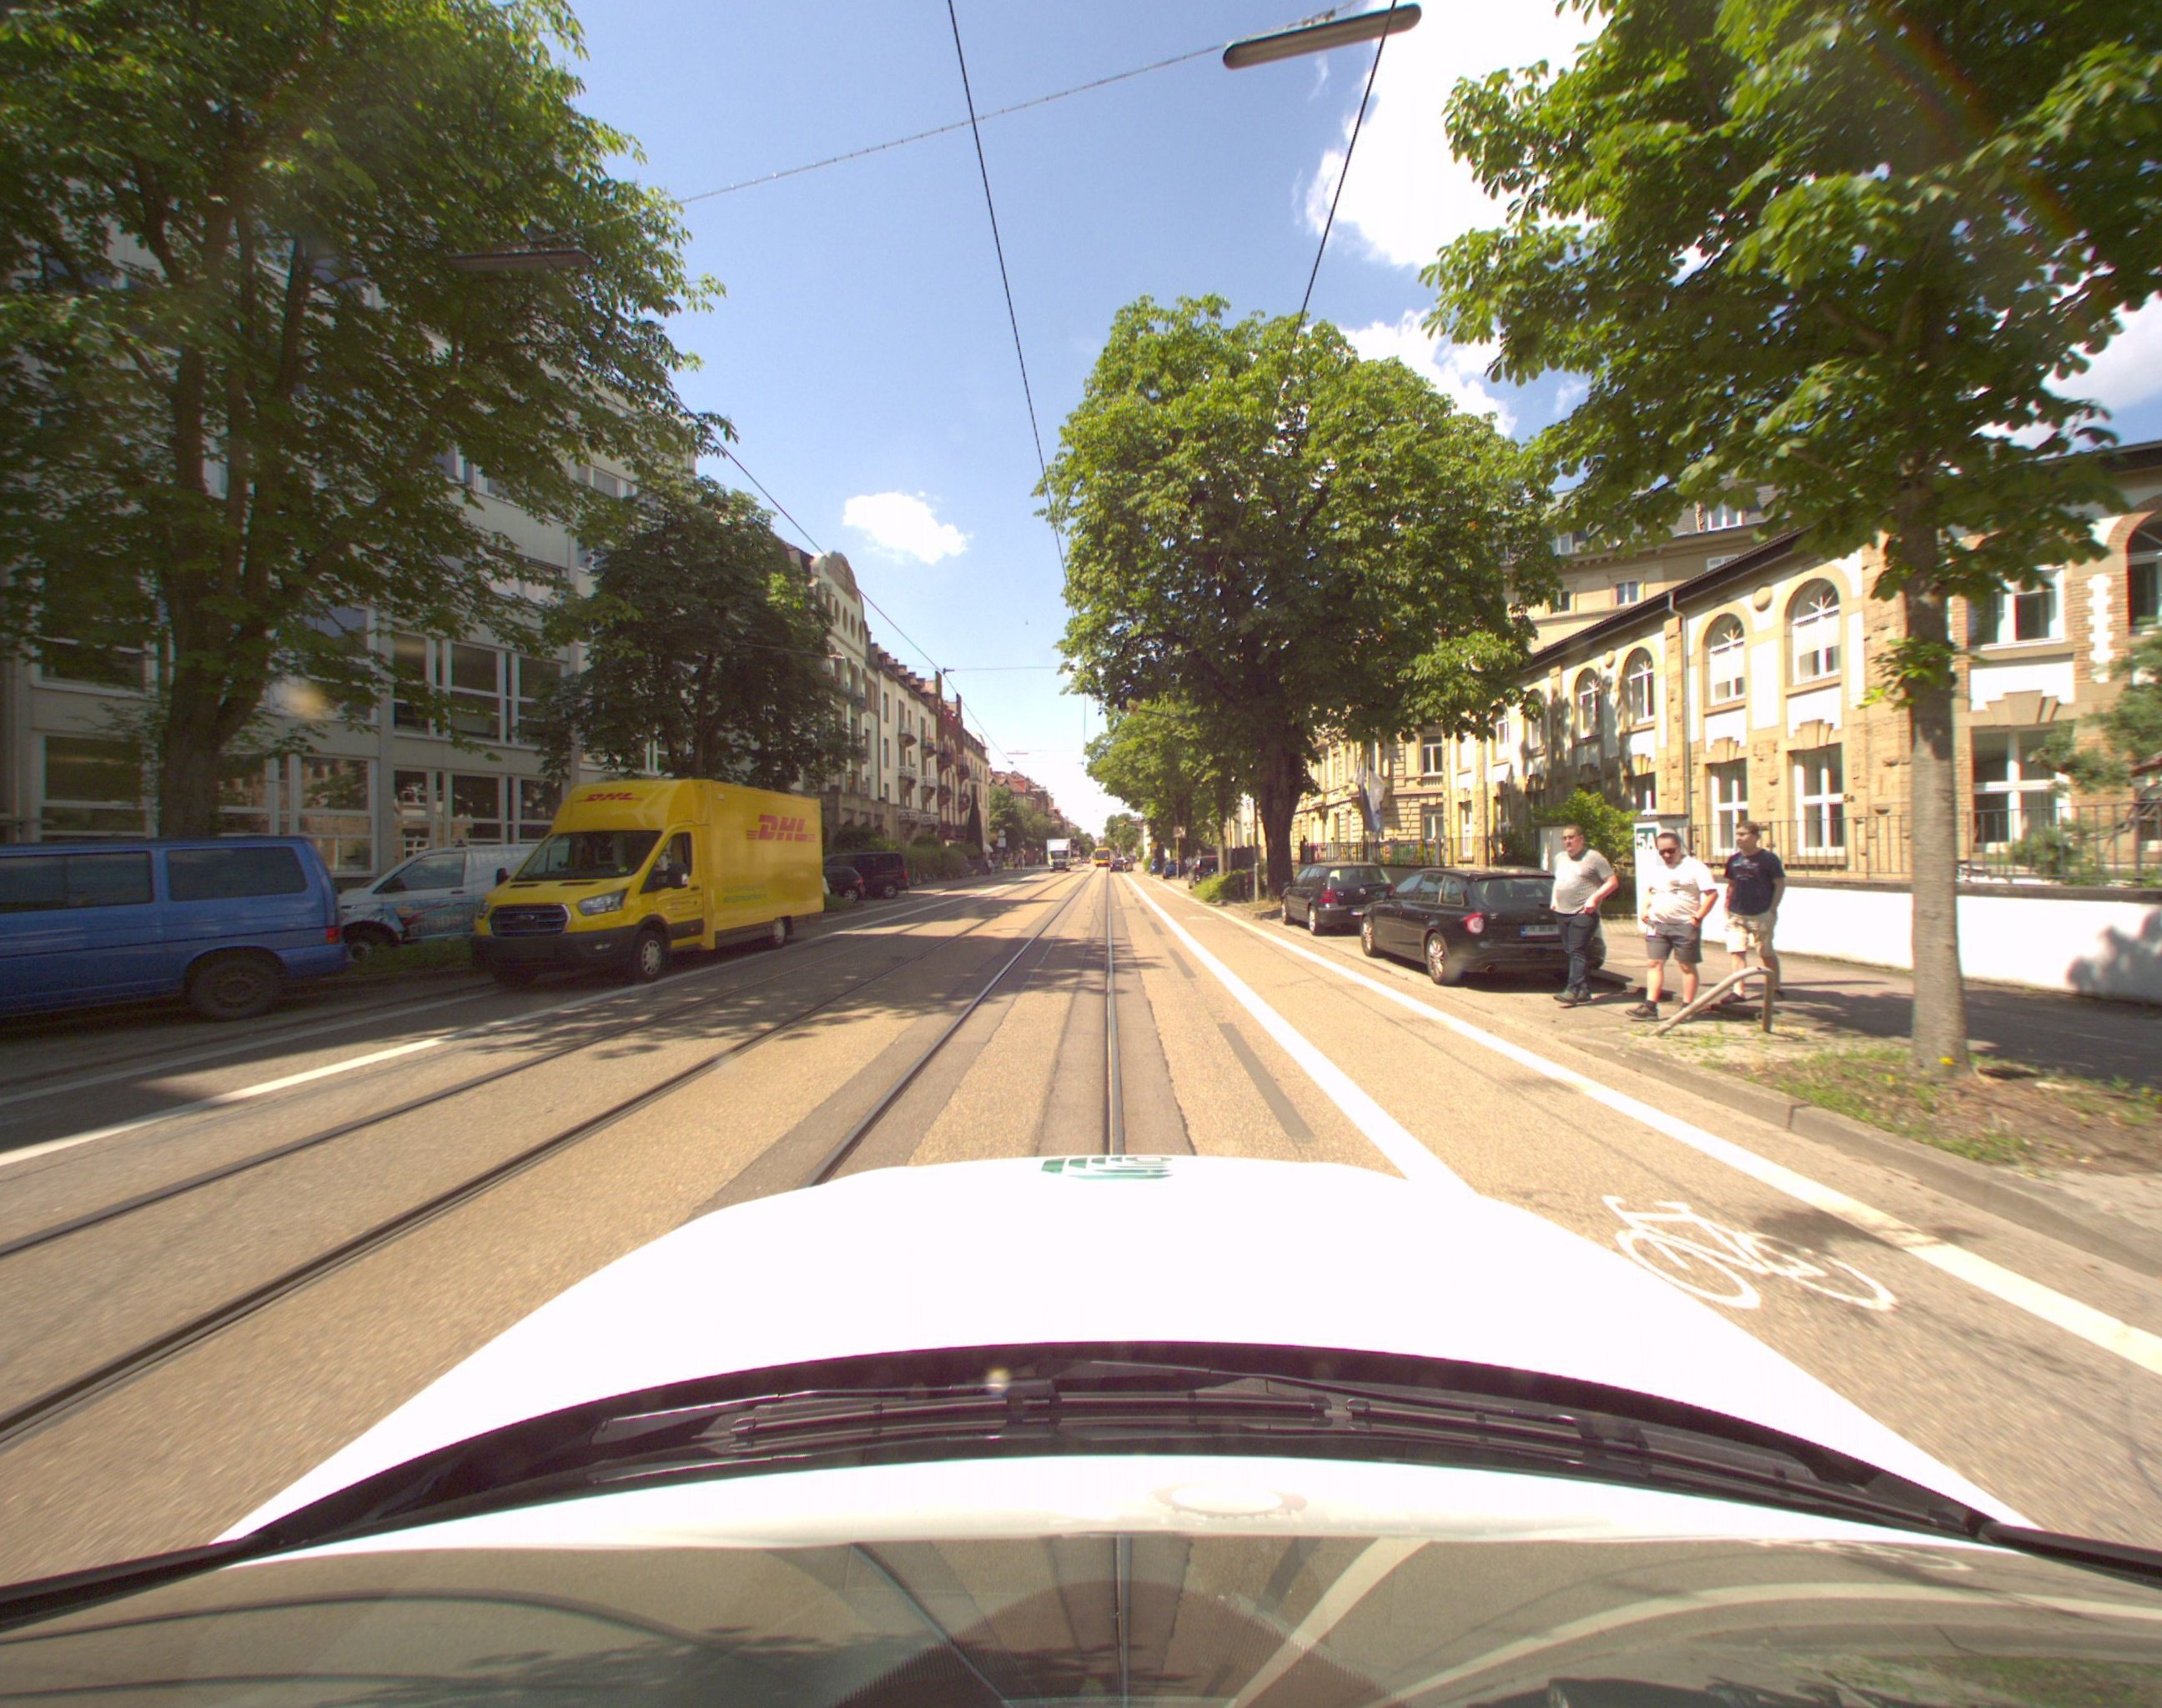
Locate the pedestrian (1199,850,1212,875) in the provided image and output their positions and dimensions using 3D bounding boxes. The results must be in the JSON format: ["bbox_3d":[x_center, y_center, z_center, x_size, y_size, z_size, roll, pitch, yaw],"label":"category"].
[{"bbox_3d":[9.324,0.649,61.037,0.806,1.860,0.576,-1,-2,-1],"label":"pedestrian"}]

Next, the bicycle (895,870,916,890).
[{"bbox_3d":[-9.367,1.391,43.625,0.541,0.969,2.250,1,0,2],"label":"bicycle"}]

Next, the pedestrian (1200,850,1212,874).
[{"bbox_3d":[9.659,0.605,62.815,0.806,1.860,0.623,-1,-2,-1],"label":"pedestrian"}]

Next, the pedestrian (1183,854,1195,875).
[{"bbox_3d":[8.232,0.797,62.060,0.802,1.530,0.626,-1,-2,19],"label":"pedestrian"}]

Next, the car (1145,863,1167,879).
[{"bbox_3d":[7.084,1.618,77.321,1.704,1.423,4.310,-1,-1,1],"label":"car"}]

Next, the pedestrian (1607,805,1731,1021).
[{"bbox_3d":[5.379,0.508,7.463,0.579,1.859,0.718,-1,-1,-34],"label":"pedestrian"}]

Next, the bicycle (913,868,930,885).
[{"bbox_3d":[-9.258,1.311,47.217,0.541,0.969,1.823,1,-2,2],"label":"bicycle"}]

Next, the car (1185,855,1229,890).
[{"bbox_3d":[6.095,0.877,39.775,1.586,1.617,3.908,-1,-1,1],"label":"car"}]

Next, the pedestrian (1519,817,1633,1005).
[{"bbox_3d":[5.190,0.562,8.557,0.579,1.859,0.802,-1,-1,-34],"label":"pedestrian"}]

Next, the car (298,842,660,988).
[{"bbox_3d":[-10.293,0.903,14.346,4.785,2.062,2.003,-2,0,-38],"label":"car"}]

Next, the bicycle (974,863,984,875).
[{"bbox_3d":[-8.615,1.269,68.614,0.541,0.969,1.782,1,0,2],"label":"bicycle"}]

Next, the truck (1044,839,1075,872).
[{"bbox_3d":[-2.360,0.117,92.537,2.928,3.550,8.456,-1,0,2],"label":"truck"}]

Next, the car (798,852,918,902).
[{"bbox_3d":[-9.292,0.930,34.070,4.507,1.941,1.685,-1,-1,-37],"label":"car"}]

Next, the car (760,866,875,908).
[{"bbox_3d":[-9.964,1.220,30.879,3.830,1.456,1.615,-1,-1,-39],"label":"car"}]

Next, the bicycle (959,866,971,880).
[{"bbox_3d":[-8.819,1.425,61.941,0.541,0.969,1.782,1,0,2],"label":"bicycle"}]

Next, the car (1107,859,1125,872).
[{"bbox_3d":[3.647,1.182,85.107,1.774,1.346,3.417,-1,0,2],"label":"car"}]

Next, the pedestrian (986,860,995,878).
[{"bbox_3d":[-7.927,1.317,71.319,0.570,1.616,0.817,-1,0,2],"label":"pedestrian"}]

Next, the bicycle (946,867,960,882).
[{"bbox_3d":[-8.870,1.389,56.383,0.541,0.969,1.991,1,0,2],"label":"bicycle"}]

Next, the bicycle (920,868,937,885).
[{"bbox_3d":[-9.181,1.341,49.174,0.541,0.969,1.991,1,-1,2],"label":"bicycle"}]

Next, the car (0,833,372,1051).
[{"bbox_3d":[-10.344,0.829,8.157,4.759,1.955,1.824,-2,0,-44],"label":"car"}]

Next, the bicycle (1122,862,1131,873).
[{"bbox_3d":[4.367,1.306,78.042,0.635,0.969,1.786,0,-2,11],"label":"bicycle"}]

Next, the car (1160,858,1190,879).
[{"bbox_3d":[6.773,1.039,58.963,1.704,1.423,4.310,-1,-1,1],"label":"car"}]

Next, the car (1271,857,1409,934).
[{"bbox_3d":[5.452,0.826,17.729,1.704,1.423,4.244,-1,-1,1],"label":"car"}]

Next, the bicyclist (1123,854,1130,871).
[{"bbox_3d":[4.378,0.803,78.138,0.618,1.616,0.867,0,-2,11],"label":"bicyclist"}]

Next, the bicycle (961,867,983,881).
[{"bbox_3d":[-7.873,1.428,58.942,0.538,0.969,1.792,-1,-2,31],"label":"bicycle"}]

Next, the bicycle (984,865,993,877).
[{"bbox_3d":[-8.315,1.535,72.944,0.541,0.969,1.782,1,1,2],"label":"bicycle"}]

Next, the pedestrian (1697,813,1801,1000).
[{"bbox_3d":[6.538,0.491,7.983,0.480,1.737,0.614,-1,-1,-34],"label":"pedestrian"}]

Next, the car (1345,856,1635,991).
[{"bbox_3d":[5.290,0.801,11.340,1.869,1.455,4.530,-2,-1,2],"label":"car"}]

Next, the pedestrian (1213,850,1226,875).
[{"bbox_3d":[10.336,0.614,60.675,0.806,1.860,0.623,-1,-2,-1],"label":"pedestrian"}]

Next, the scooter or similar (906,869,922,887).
[{"bbox_3d":[-9.318,1.320,45.558,0.541,0.969,1.500,1,0,2],"label":"scooter or similar"}]

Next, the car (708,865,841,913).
[{"bbox_3d":[-10.313,1.144,27.547,3.833,1.456,1.683,0,-2,-44],"label":"car"}]

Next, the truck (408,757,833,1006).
[{"bbox_3d":[-6.547,0.318,13.256,2.351,2.852,7.383,-2,0,3],"label":"truck"}]

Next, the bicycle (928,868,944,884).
[{"bbox_3d":[-9.090,1.387,51.221,0.541,0.969,1.990,1,-2,2],"label":"bicycle"}]

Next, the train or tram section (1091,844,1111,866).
[{"bbox_3d":[3.389,0.215,135.524,3.023,3.438,11.977,-1,0,2],"label":"train or tram section"}]
